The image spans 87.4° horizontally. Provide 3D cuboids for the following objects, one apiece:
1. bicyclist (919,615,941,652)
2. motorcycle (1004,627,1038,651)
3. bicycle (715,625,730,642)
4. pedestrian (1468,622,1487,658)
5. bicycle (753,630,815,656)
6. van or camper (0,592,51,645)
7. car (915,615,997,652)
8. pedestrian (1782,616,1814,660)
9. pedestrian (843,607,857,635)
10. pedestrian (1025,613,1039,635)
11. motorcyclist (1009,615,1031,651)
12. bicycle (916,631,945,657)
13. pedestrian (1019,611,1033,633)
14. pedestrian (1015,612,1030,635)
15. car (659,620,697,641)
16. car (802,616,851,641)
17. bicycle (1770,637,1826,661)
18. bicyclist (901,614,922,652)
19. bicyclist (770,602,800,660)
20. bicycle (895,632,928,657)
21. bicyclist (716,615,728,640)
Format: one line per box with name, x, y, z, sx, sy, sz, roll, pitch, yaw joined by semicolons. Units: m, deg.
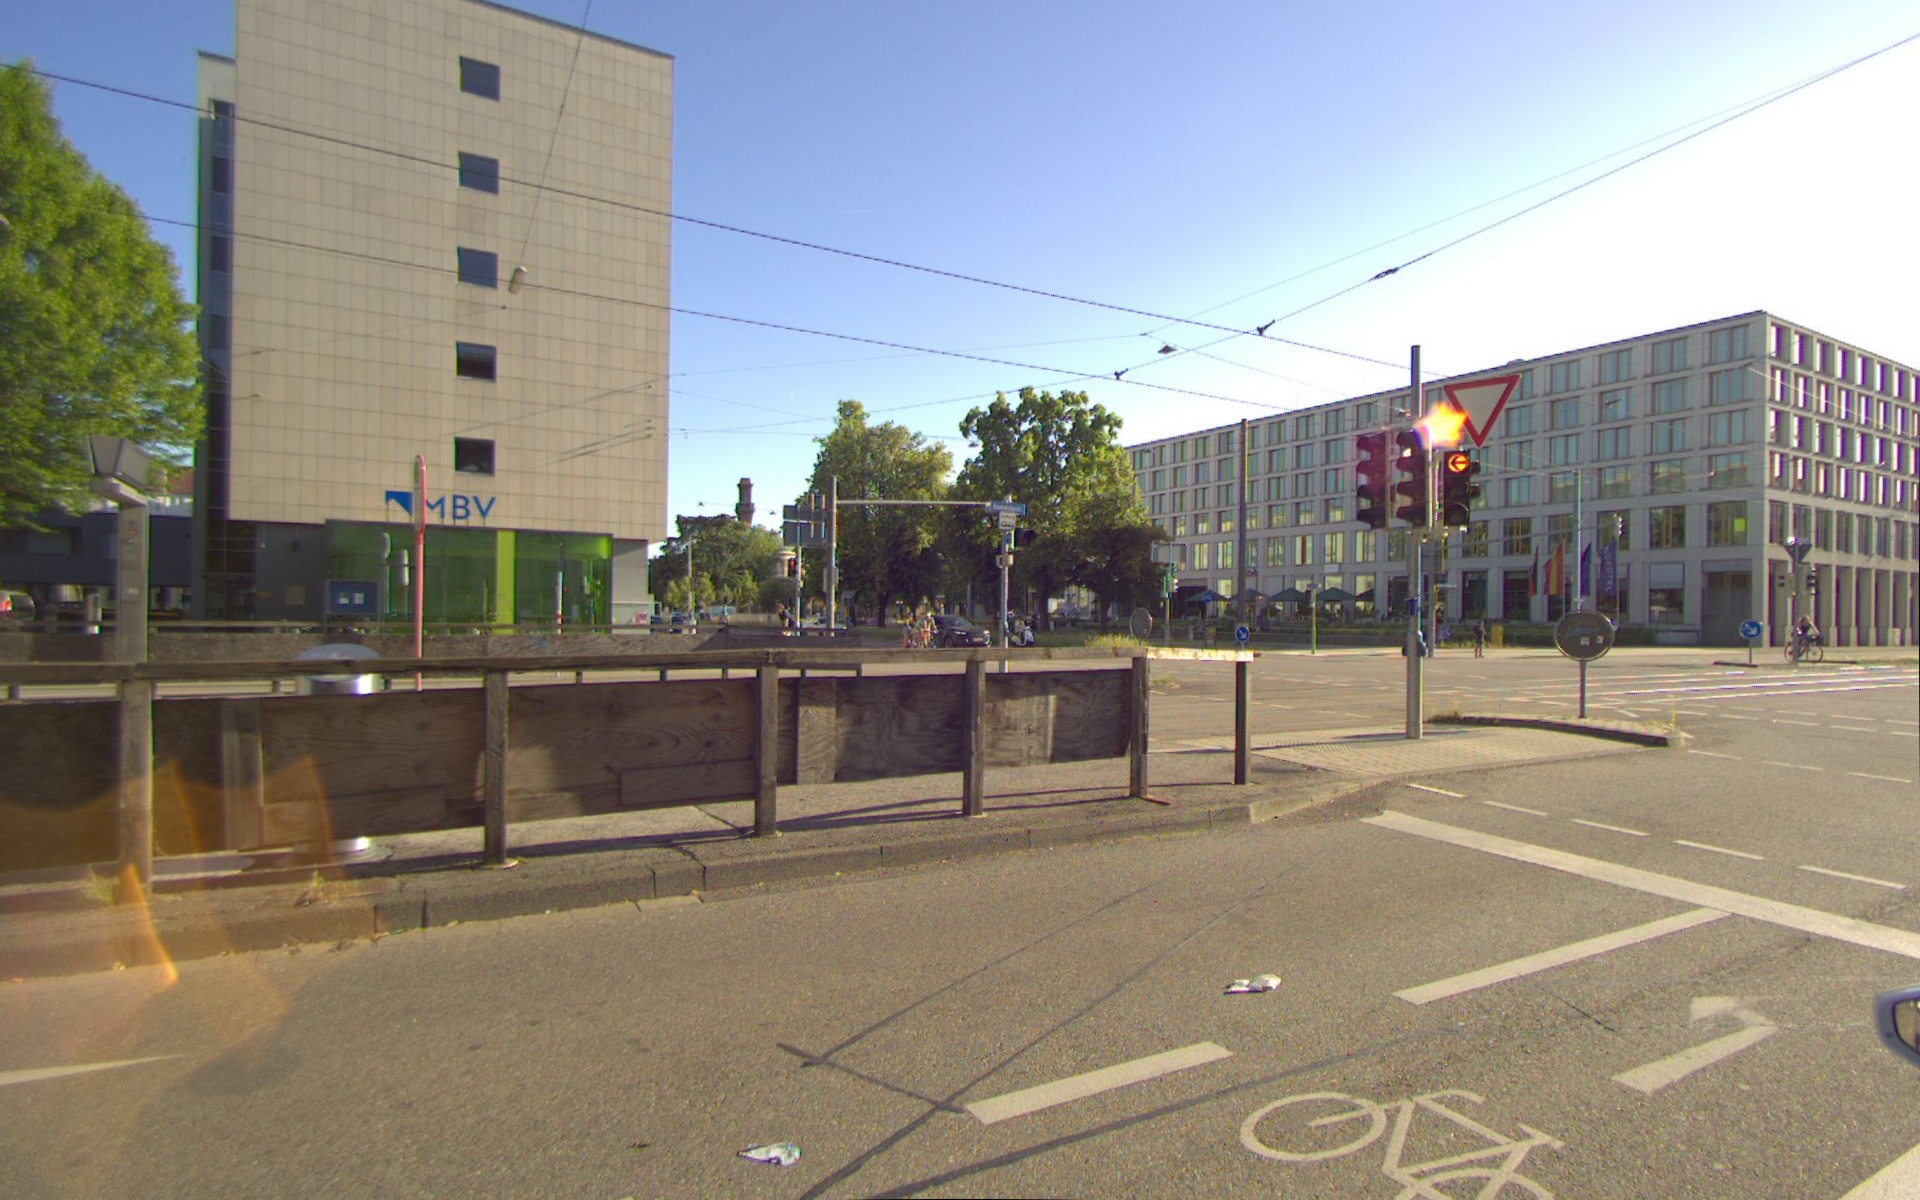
bicyclist;-1.273;1.399;42.410;0.576;1.563;0.890;1;-1;-27
motorcycle;2.847;1.819;46.949;0.624;1.030;1.972;-3;1;-28
bicycle;-15.559;2.185;65.722;0.576;1.032;1.666;1;-1;-27
pedestrian;25.121;1.932;48.765;0.597;1.703;0.602;1;-1;-22
bicycle;-5.478;1.327;31.304;1.831;0.798;0.532;1;-1;-30
van or camper;-27.889;0.428;27.559;3.954;1.425;1.954;4;-3;-30
car;-0.230;1.467;44.545;1.925;1.561;3.969;2;-2;-29
pedestrian;30.934;1.404;37.101;0.562;1.616;0.744;1;-1;-3
pedestrian;-8.153;1.557;74.130;0.772;2.040;0.747;1;-1;-31
pedestrian;5.724;1.895;79.841;0.858;1.738;0.737;2;0;-26
motorcyclist;2.807;1.538;46.980;0.624;1.601;0.812;-3;1;-28
bicycle;-1.267;1.840;42.374;0.576;1.032;1.666;1;-1;-27
pedestrian;5.371;1.767;82.018;0.858;1.738;0.737;2;0;-26
pedestrian;4.930;1.869;79.386;0.858;1.738;0.737;2;0;-26
car;-22.092;2.391;78.532;1.975;1.472;4.179;2;0;-28
car;-9.142;1.926;68.540;1.975;1.472;4.179;2;0;-28
bicycle;30.935;1.800;37.103;0.562;0.834;1.718;1;-1;-2
bicyclist;-2.033;1.367;42.010;0.577;1.563;0.833;1;-2;-32
bicyclist;-5.462;0.974;31.323;0.762;1.784;0.532;1;-1;-30
bicycle;-2.038;1.845;42.013;0.577;1.032;1.806;1;-3;-31
bicyclist;-15.595;1.796;65.831;0.576;1.658;0.890;1;-1;-27
